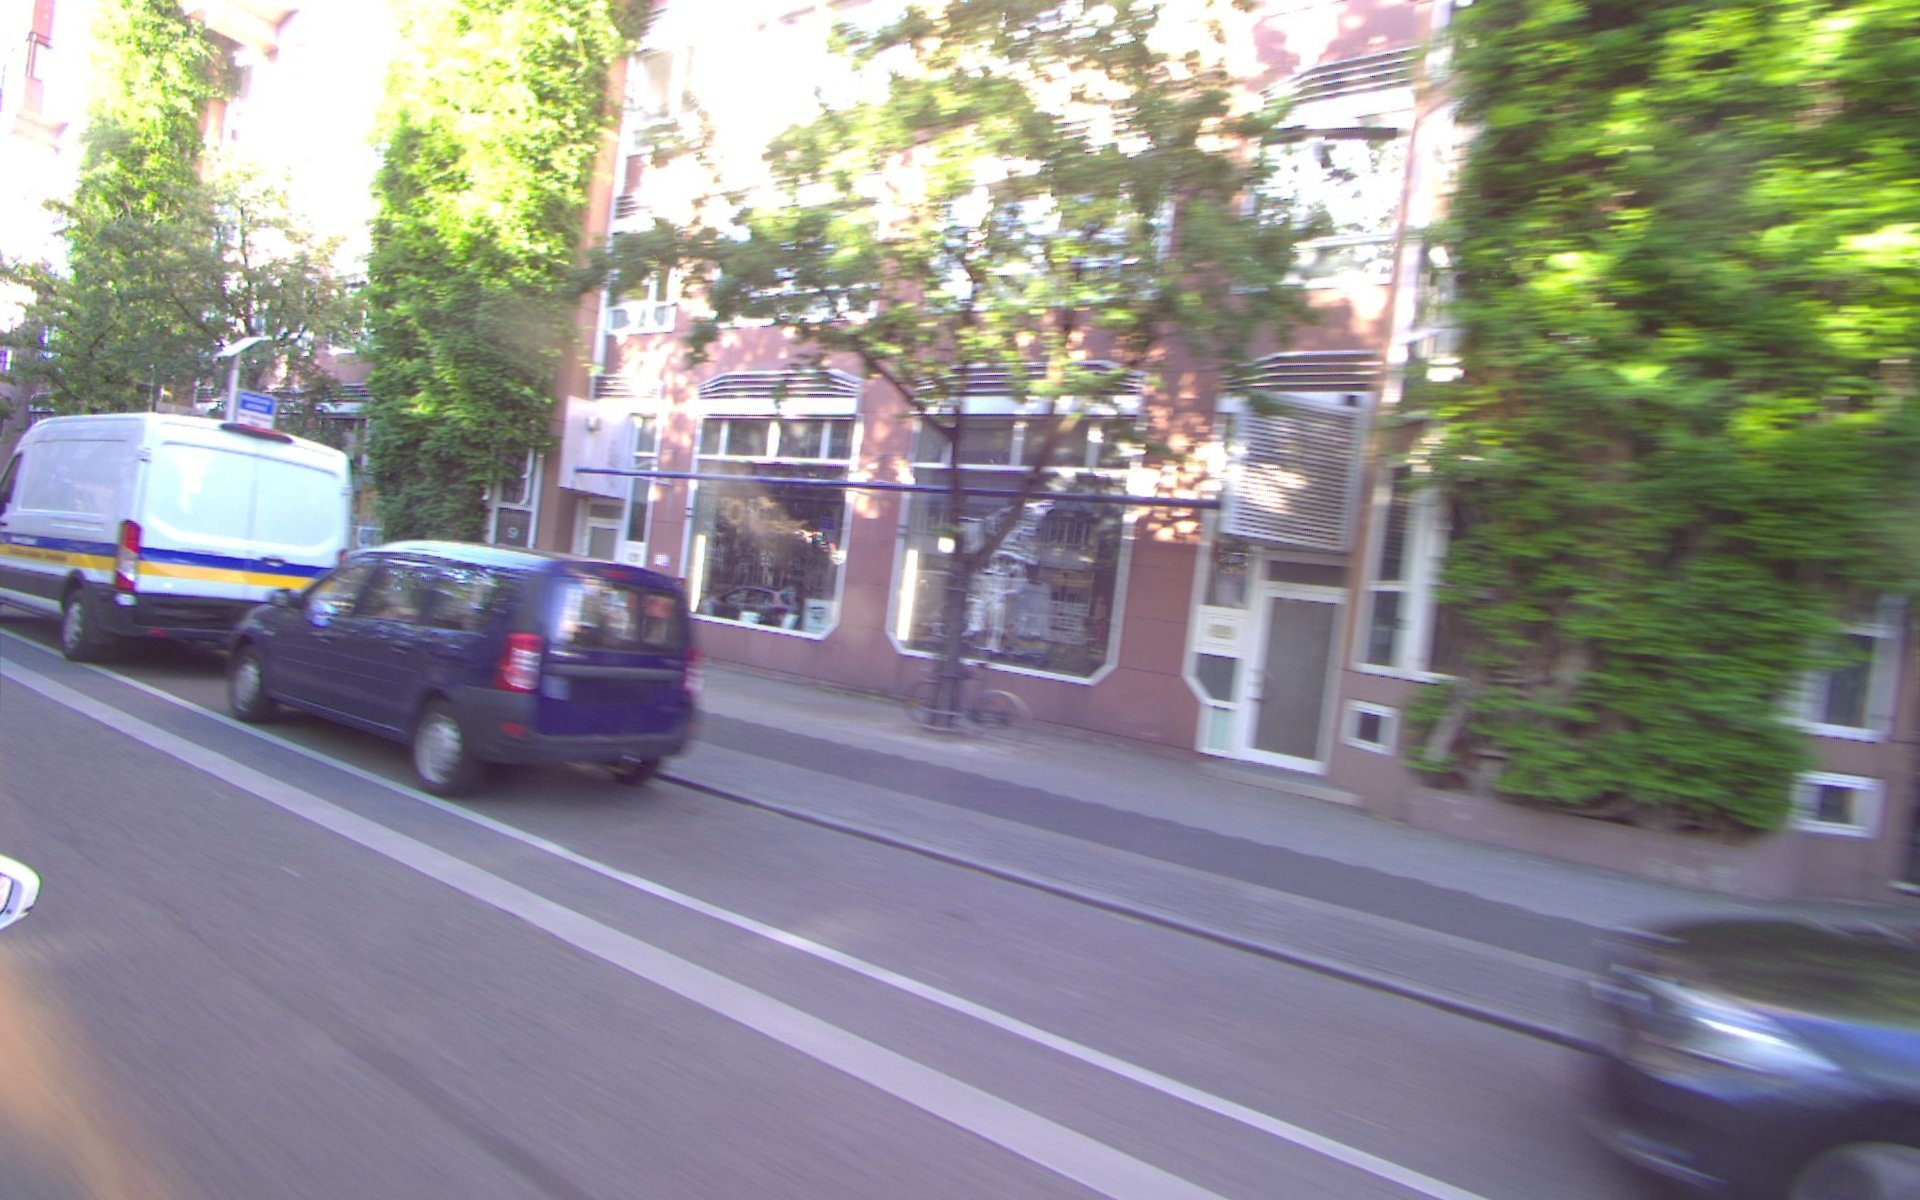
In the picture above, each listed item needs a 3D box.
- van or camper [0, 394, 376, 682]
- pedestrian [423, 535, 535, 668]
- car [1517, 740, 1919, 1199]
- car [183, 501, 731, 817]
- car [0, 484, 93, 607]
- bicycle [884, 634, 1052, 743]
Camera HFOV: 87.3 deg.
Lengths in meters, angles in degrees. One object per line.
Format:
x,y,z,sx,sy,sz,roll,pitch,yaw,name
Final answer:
-9.255,-0.766,11.394,5.679,2.572,2.050,7,0,33,van or camper
-5.749,0.026,12.037,0.767,1.462,0.766,7,-1,32,pedestrian
3.870,1.405,2.452,4.240,1.318,1.622,7,0,32,car
-4.009,0.293,7.734,4.411,1.639,1.622,7,0,33,car
-14.657,-0.951,14.882,3.711,1.623,1.622,7,0,31,car
0.084,1.061,12.348,1.880,1.033,0.619,7,0,26,bicycle
